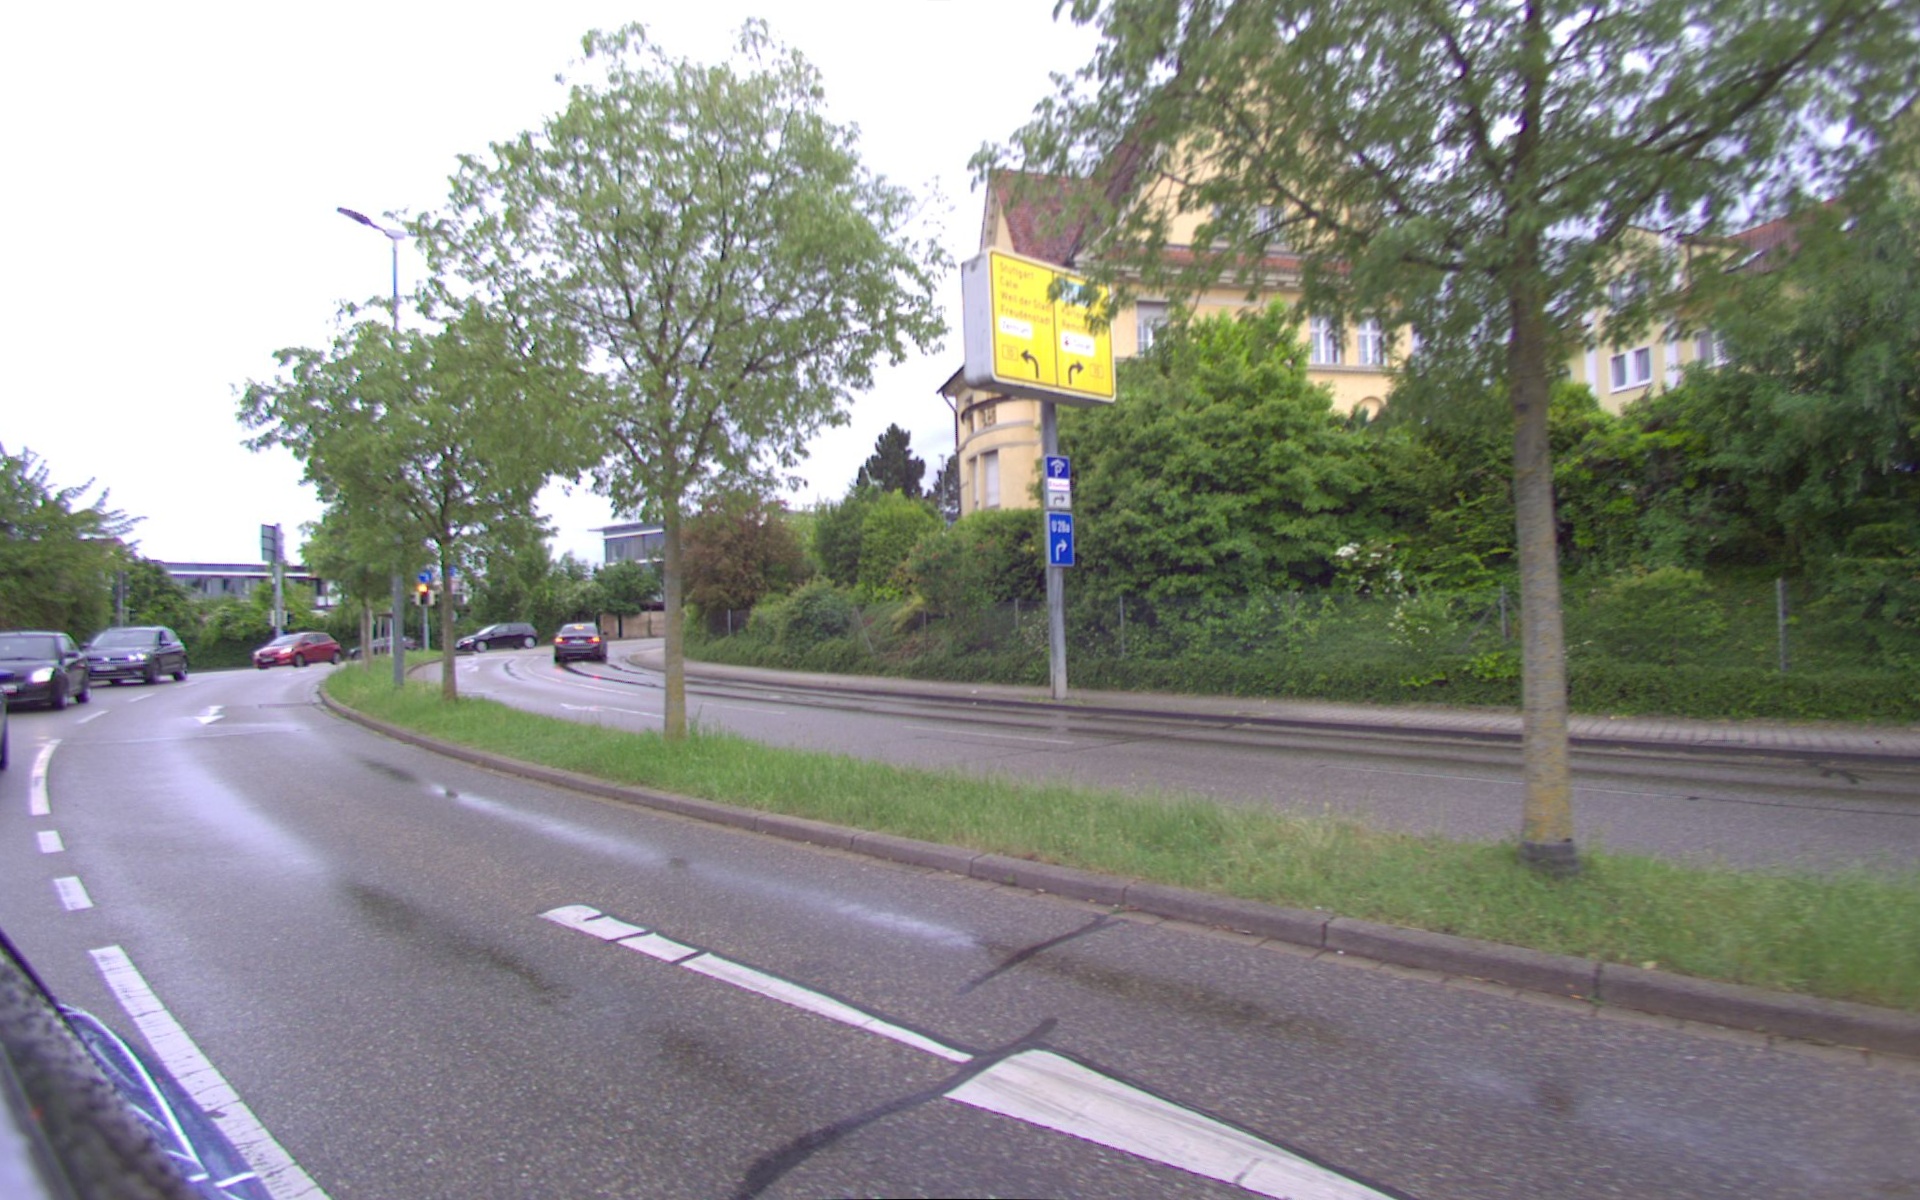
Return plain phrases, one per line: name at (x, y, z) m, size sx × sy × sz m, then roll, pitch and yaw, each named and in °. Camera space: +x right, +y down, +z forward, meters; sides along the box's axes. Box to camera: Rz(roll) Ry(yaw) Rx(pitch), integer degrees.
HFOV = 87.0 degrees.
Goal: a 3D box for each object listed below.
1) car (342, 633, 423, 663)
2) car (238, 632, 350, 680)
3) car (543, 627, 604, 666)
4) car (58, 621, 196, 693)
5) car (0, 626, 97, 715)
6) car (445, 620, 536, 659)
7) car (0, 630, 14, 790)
car at (-35.806, 2.953, 62.847) m, size 3.932 × 1.683 × 2.005 m, roll -1°, pitch -1°, yaw -15°
car at (-28.548, 2.380, 43.539) m, size 1.847 × 1.739 × 3.992 m, roll -5°, pitch -1°, yaw 7°
car at (-15.316, 1.862, 40.327) m, size 1.966 × 1.449 × 4.561 m, roll 0°, pitch -3°, yaw -17°
car at (-23.849, 1.642, 29.168) m, size 1.935 × 1.763 × 4.321 m, roll -4°, pitch -2°, yaw -25°
car at (-18.372, 1.435, 19.817) m, size 1.718 × 1.530 × 4.010 m, roll -4°, pitch -2°, yaw -34°
car at (-25.291, 2.106, 54.578) m, size 1.869 × 1.739 × 3.944 m, roll -6°, pitch -2°, yaw 43°
car at (-9.976, 1.044, 9.174) m, size 1.885 × 1.507 × 4.355 m, roll 0°, pitch -1°, yaw -41°
